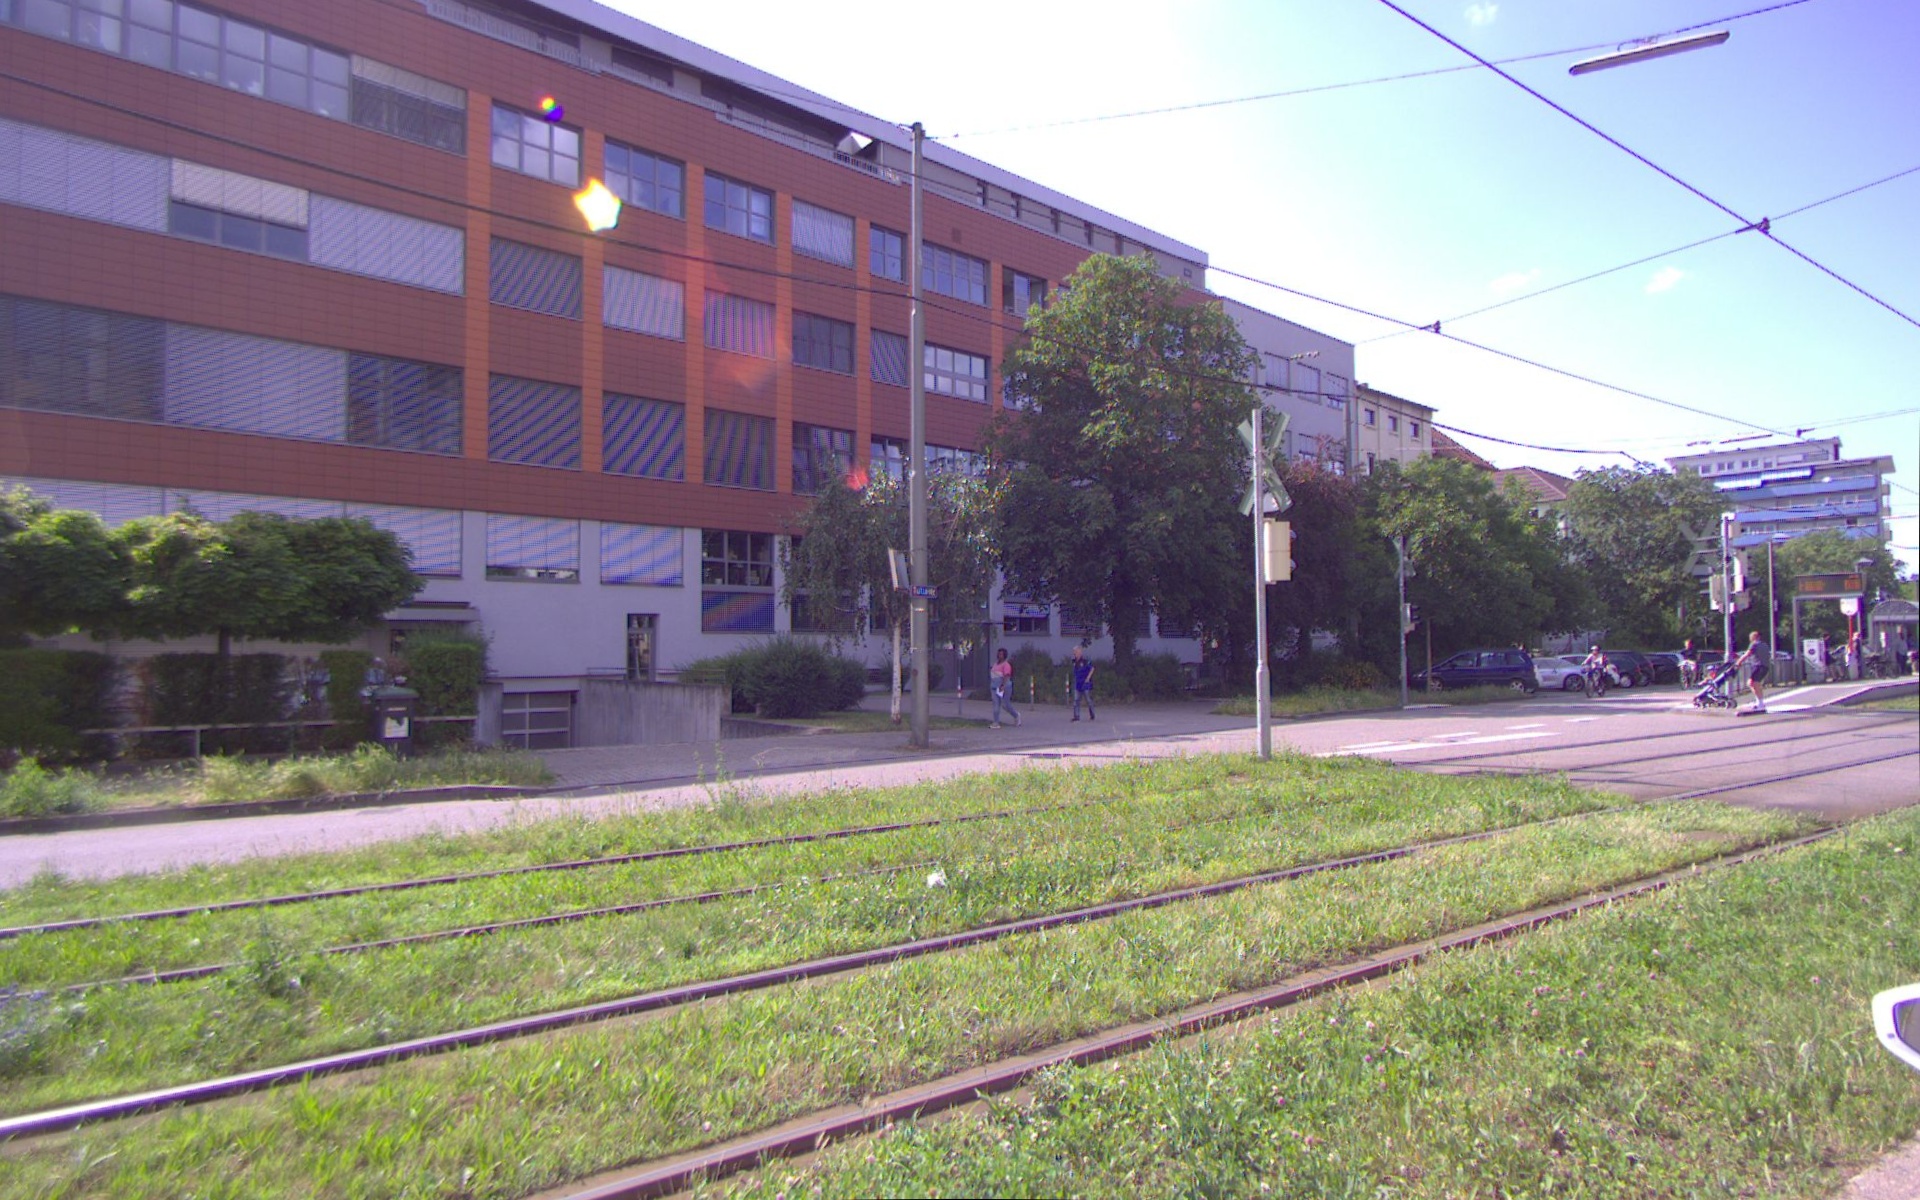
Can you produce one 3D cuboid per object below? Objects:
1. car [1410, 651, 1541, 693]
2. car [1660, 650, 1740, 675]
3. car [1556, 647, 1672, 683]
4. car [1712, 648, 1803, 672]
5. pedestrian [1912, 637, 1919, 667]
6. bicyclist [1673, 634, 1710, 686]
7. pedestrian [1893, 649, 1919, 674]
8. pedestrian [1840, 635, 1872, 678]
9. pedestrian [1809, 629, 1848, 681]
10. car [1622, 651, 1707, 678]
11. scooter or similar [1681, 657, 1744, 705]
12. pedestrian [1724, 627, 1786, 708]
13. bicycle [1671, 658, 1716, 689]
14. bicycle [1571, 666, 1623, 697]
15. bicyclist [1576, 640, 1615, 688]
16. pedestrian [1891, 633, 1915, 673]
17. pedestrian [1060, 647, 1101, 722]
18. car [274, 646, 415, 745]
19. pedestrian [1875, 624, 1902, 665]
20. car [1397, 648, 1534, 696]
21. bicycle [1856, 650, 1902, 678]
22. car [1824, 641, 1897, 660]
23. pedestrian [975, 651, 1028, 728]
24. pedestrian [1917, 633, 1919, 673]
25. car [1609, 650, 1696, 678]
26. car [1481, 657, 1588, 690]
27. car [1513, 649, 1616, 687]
[{"bbox_3d":[19.480,2.736,38.114,4.049,1.518,1.727,-1,-3,12],"label":"car"},{"bbox_3d":[40.533,3.429,55.046,3.181,1.326,1.457,-1,-3,6],"label":"car"},{"bbox_3d":[29.245,2.916,45.020,3.919,1.475,1.692,-2,-4,11],"label":"car"},{"bbox_3d":[48.397,3.659,61.061,3.919,1.385,1.718,-2,-4,11],"label":"car"},{"bbox_3d":[47.711,2.602,49.937,0.482,1.470,0.461,-4,-4,42],"label":"pedestrian"},{"bbox_3d":[29.054,2.377,39.878,0.938,2.040,1.567,-3,-4,44],"label":"bicyclist"},{"bbox_3d":[40.325,2.611,42.629,0.790,1.001,0.918,3,-6,-36],"label":"pedestrian"},{"bbox_3d":[33.891,2.126,37.995,0.678,1.589,0.660,1,-5,-31],"label":"pedestrian"},{"bbox_3d":[30.021,1.907,34.726,0.654,1.749,0.715,-1,-3,3],"label":"pedestrian"},{"bbox_3d":[35.801,3.262,51.093,3.181,1.326,1.457,-1,-3,6],"label":"car"},{"bbox_3d":[17.560,1.887,23.436,0.790,1.078,0.947,2,-6,-39],"label":"scooter or similar"},{"bbox_3d":[18.213,1.557,23.022,0.996,1.798,0.863,2,-6,-43],"label":"pedestrian"},{"bbox_3d":[29.115,2.930,39.839,1.142,1.193,1.777,-5,-6,44],"label":"bicycle"},{"bbox_3d":[21.619,2.754,34.084,2.157,0.983,0.676,2,-4,-35],"label":"bicycle"},{"bbox_3d":[21.606,2.189,34.156,0.855,1.602,0.780,1,-4,-35],"label":"bicyclist"},{"bbox_3d":[42.050,2.353,44.809,0.551,1.758,0.590,1,-4,-34],"label":"pedestrian"},{"bbox_3d":[2.763,1.920,23.004,0.738,1.678,0.554,1,-4,-30],"label":"pedestrian"},{"bbox_3d":[-11.553,1.700,18.750,1.980,1.616,3.961,2,-4,-35],"label":"car"},{"bbox_3d":[38.999,1.883,42.205,0.650,1.714,0.650,2,-4,-38],"label":"pedestrian"},{"bbox_3d":[18.102,2.580,36.132,4.049,1.662,1.727,-1,-3,12],"label":"car"},{"bbox_3d":[34.168,2.371,37.330,1.749,0.987,0.683,1,-5,-29],"label":"bicycle"},{"bbox_3d":[71.784,4.053,80.134,3.920,1.466,1.729,-2,-3,17],"label":"car"},{"bbox_3d":[0.880,1.904,21.394,0.879,1.594,0.742,3,-4,-30],"label":"pedestrian"},{"bbox_3d":[43.278,2.349,44.849,0.631,1.789,0.601,1,-3,-29],"label":"pedestrian"},{"bbox_3d":[33.804,3.133,49.088,3.181,1.326,1.457,-1,-3,3],"label":"car"},{"bbox_3d":[22.659,2.890,39.712,3.320,1.252,1.546,-1,-3,12],"label":"car"},{"bbox_3d":[25.007,2.830,41.662,3.320,1.524,1.546,-1,-3,14],"label":"car"}]
